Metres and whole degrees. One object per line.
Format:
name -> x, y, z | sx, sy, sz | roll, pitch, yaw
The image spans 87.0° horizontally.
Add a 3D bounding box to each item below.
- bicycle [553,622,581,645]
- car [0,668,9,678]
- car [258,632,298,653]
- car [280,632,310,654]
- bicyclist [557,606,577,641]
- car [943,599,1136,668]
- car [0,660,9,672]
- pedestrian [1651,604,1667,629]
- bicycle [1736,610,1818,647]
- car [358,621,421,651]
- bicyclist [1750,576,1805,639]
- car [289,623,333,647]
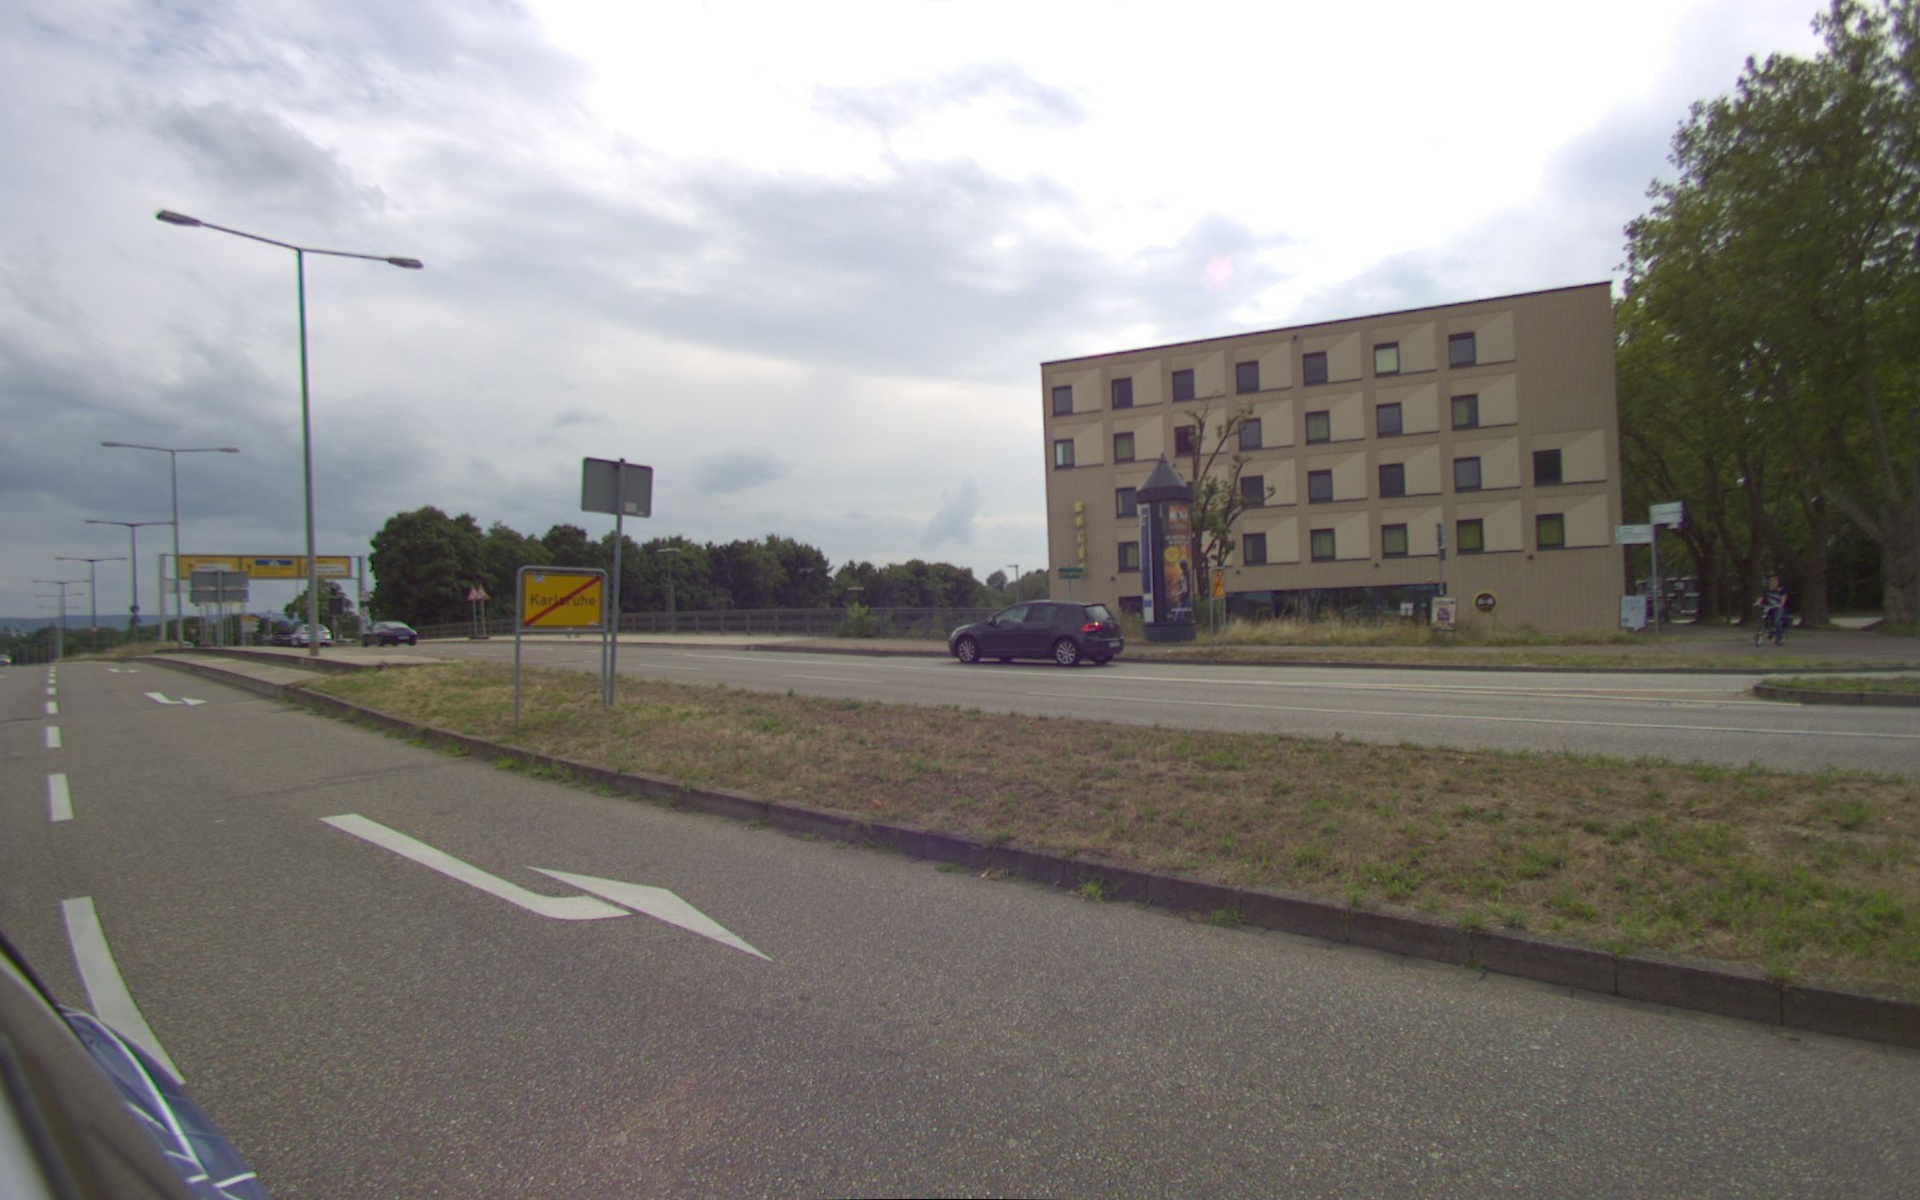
bicycle -> -19.323, 1.655, 49.720 | 0.675, 1.061, 1.998 | -1, 0, -40
car -> -147.899, 11.309, 156.023 | 1.834, 1.353, 4.004 | -1, -1, -43
car -> -48.762, 2.999, 72.331 | 1.721, 1.421, 3.879 | 1, -2, -44
car -> -54.617, 3.509, 83.107 | 1.719, 1.671, 4.087 | 1, -1, -39
bicyclist -> -19.297, 1.135, 49.698 | 0.675, 1.684, 0.849 | -1, -1, -40
car -> 1.762, 0.742, 22.910 | 3.990, 1.429, 1.777 | -2, -1, 34
car -> -116.013, 7.953, 122.047 | 1.834, 1.353, 4.004 | -1, -1, -42
pedestrian -> 33.057, 0.781, 47.850 | 0.499, 1.133, 0.459 | -2, -1, 25
bicycle -> 21.695, 0.744, 26.875 | 2.083, 0.916, 0.744 | -1, -1, -21
car -> -30.101, 1.862, 53.332 | 1.800, 1.457, 4.356 | -1, 0, -44
bicyclist -> 21.720, 0.196, 26.899 | 0.905, 1.627, 0.744 | -1, -1, -21
car -> -39.847, 2.137, 62.108 | 1.597, 1.421, 3.864 | 1, -2, -43
